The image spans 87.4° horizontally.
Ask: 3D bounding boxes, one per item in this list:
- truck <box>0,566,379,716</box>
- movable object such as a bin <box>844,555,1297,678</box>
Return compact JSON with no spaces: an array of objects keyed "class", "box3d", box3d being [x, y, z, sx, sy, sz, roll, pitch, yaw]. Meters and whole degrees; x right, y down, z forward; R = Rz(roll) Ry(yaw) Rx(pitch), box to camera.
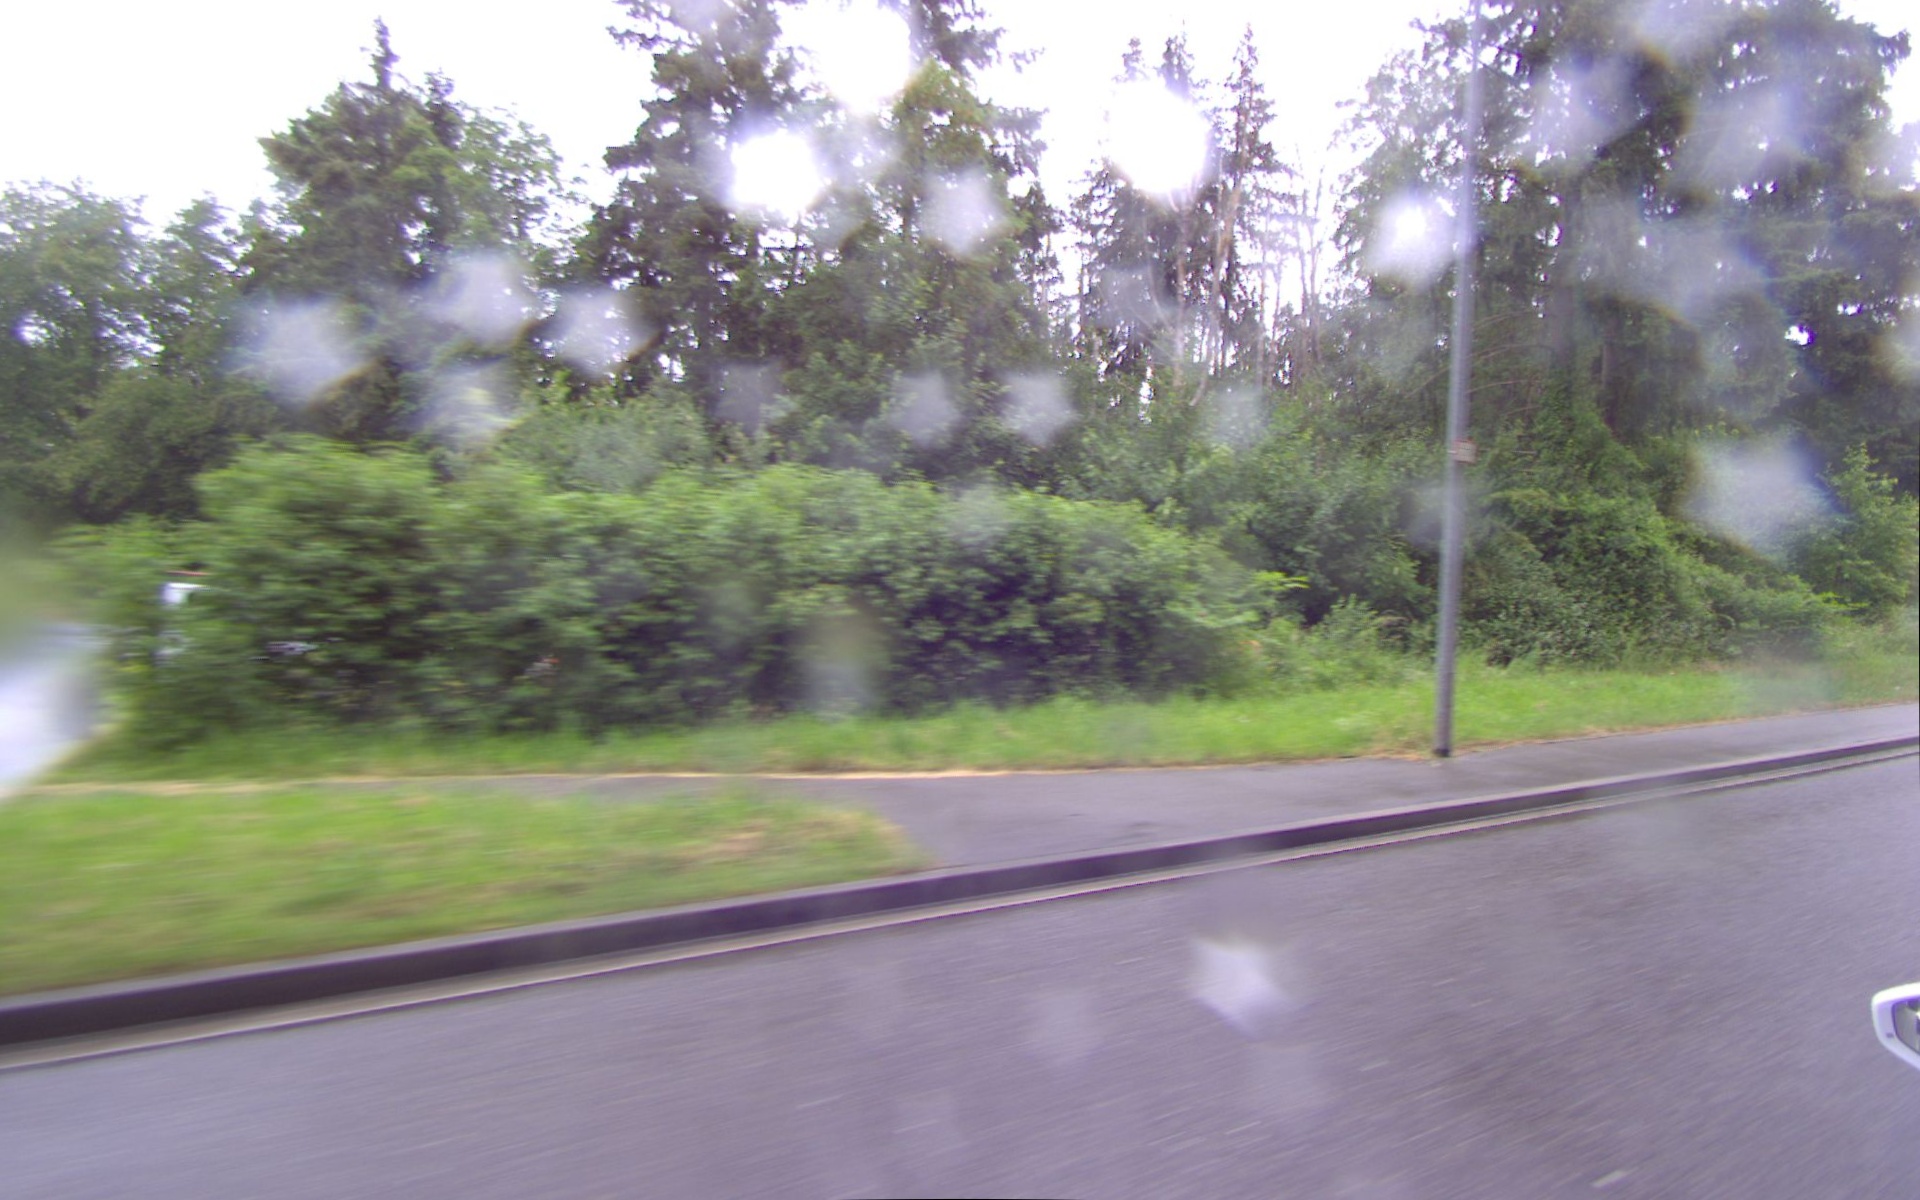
[{"class":"truck","box3d":[-13.190,0.632,16.345,6.127,2.232,1.996,1,2,-10]},{"class":"movable object such as a bin","box3d":[1.908,0.284,18.183,7.752,1.933,1.852,1,0,0]}]
